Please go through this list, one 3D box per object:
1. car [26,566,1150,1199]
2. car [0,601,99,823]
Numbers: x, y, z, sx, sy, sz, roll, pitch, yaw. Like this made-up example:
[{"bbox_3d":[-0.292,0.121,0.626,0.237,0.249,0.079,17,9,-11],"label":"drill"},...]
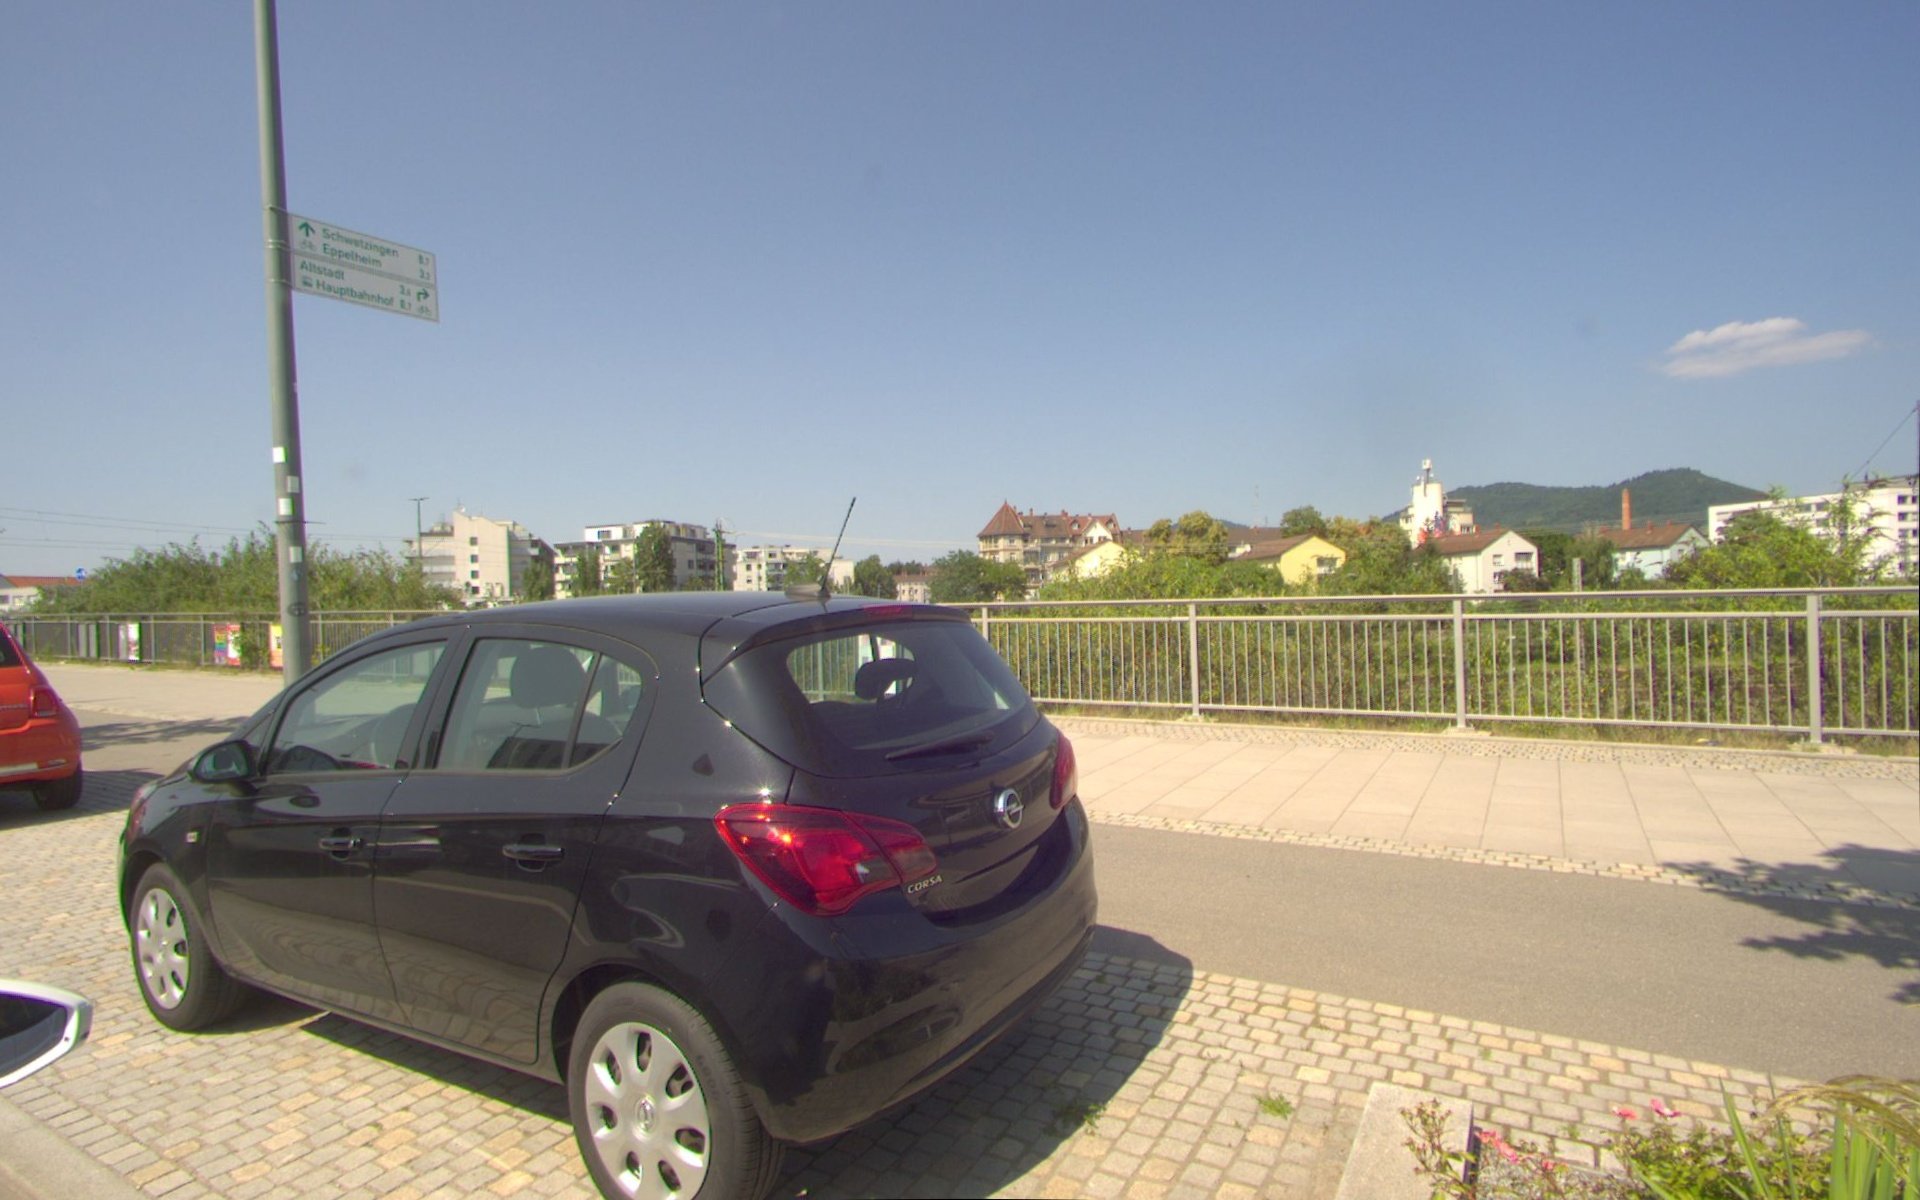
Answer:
[{"bbox_3d":[-1.499,0.680,3.587,3.942,1.446,1.656,-1,2,31],"label":"car"},{"bbox_3d":[-8.161,0.806,7.588,3.305,1.517,1.605,-1,2,34],"label":"car"}]
